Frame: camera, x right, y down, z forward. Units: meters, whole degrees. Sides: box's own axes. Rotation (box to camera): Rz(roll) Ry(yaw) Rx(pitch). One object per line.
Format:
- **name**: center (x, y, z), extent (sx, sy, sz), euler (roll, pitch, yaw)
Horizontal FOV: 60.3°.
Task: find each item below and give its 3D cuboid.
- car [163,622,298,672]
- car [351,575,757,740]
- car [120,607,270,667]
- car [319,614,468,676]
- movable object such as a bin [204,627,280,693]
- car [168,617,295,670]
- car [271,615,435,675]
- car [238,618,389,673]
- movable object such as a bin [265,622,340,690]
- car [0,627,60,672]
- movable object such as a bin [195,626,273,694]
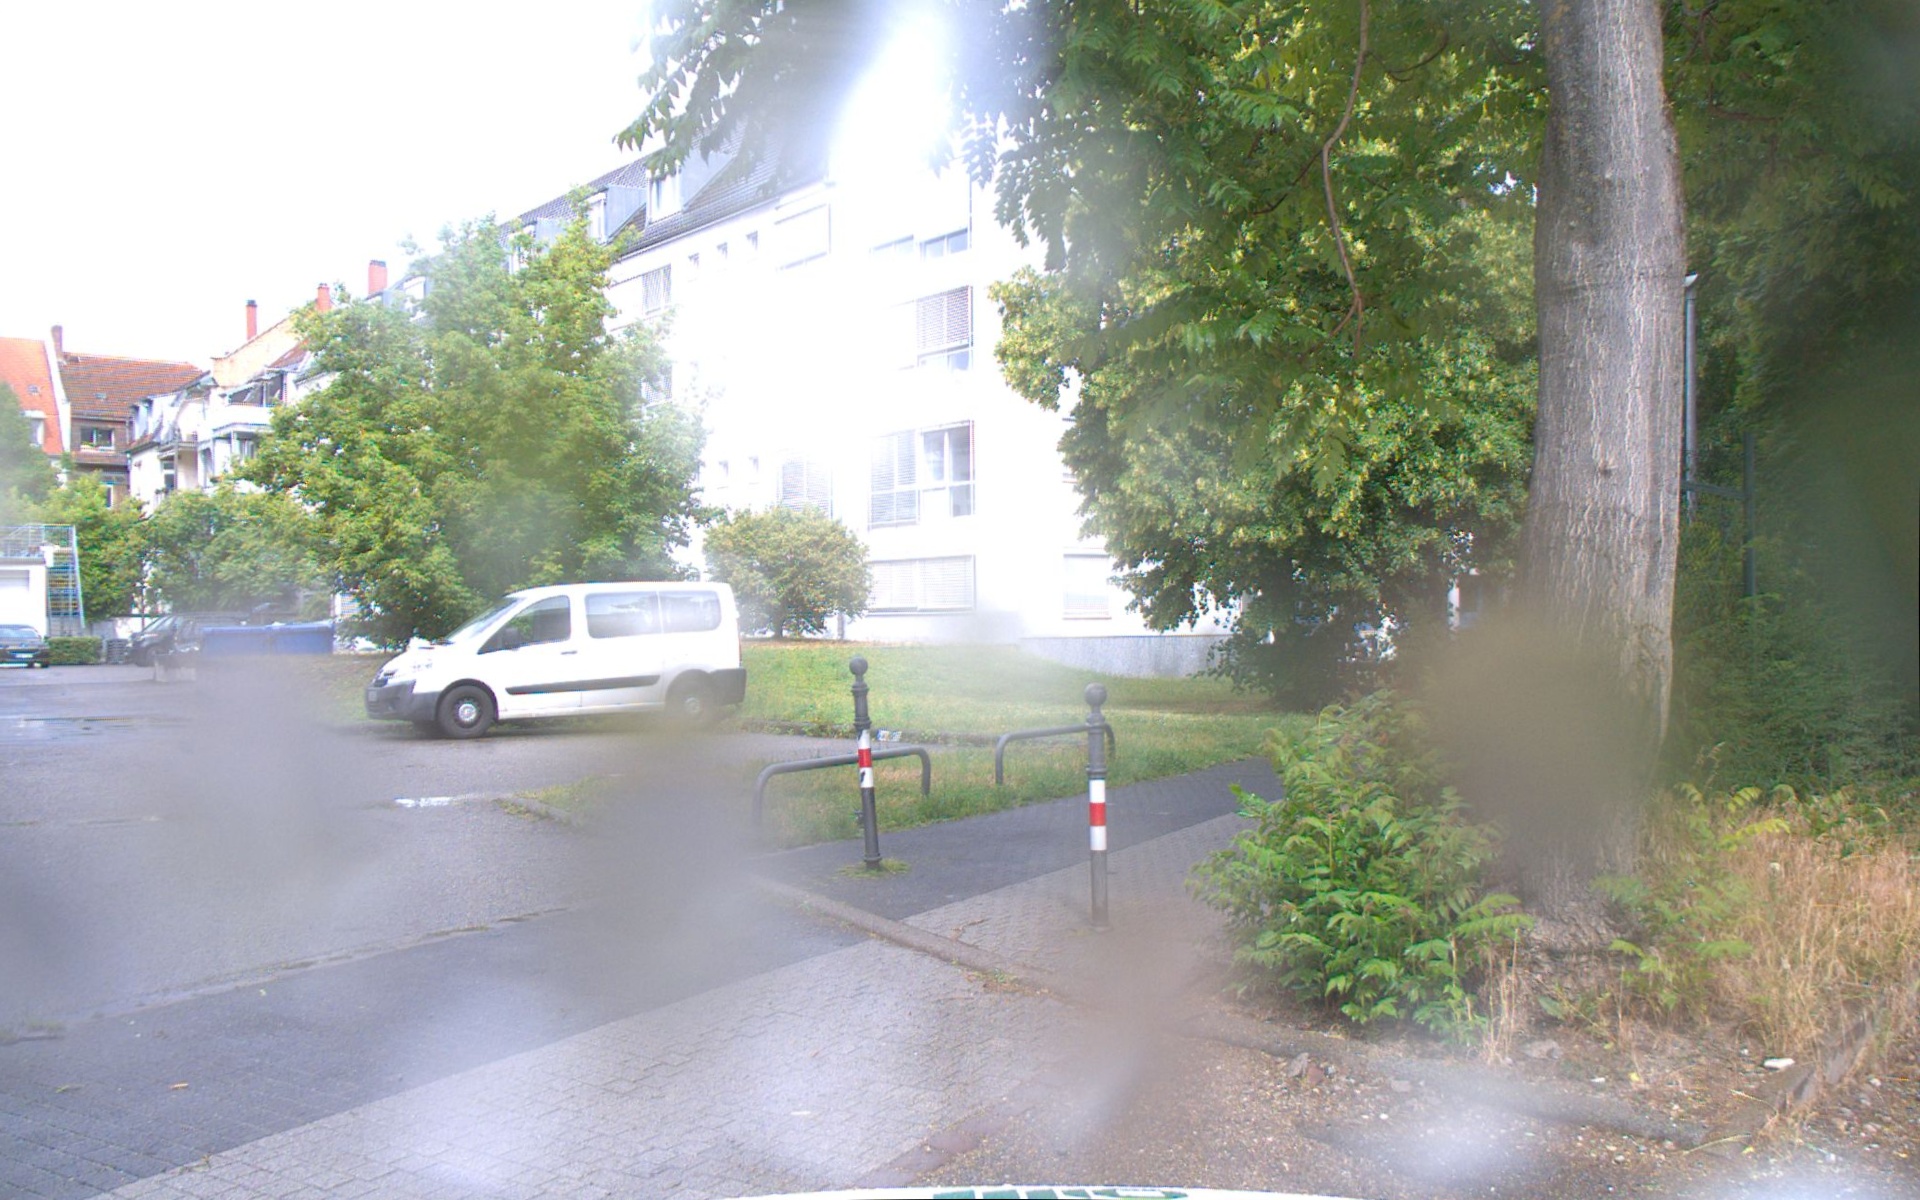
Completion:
- **car**: center (-24.775, 1.579, 56.222), extent (3.882, 1.540, 1.728), euler (-2, -1, -39)
- **car**: center (-5.300, 0.738, 21.774), extent (4.825, 1.960, 2.077), euler (1, -2, -32)
- **car**: center (-28.269, 1.343, 61.200), extent (4.614, 2.038, 2.189), euler (-2, 0, -44)
- **car**: center (-14.970, 1.173, 43.740), extent (3.389, 1.451, 1.666), euler (-2, 0, -36)
- **movable object such as a bin**: center (-15.399, 1.271, 35.460), extent (1.358, 1.327, 1.071), euler (-1, -1, -31)
- **car**: center (-26.095, 1.534, 59.252), extent (3.876, 1.717, 1.795), euler (-2, -1, -35)
- **car**: center (-16.855, 1.224, 46.005), extent (3.957, 1.471, 1.783), euler (-2, 0, -37)
- **car**: center (-19.631, 1.365, 50.290), extent (3.960, 1.484, 1.748), euler (-1, -1, -39)
- **movable object such as a bin**: center (-13.744, 1.156, 34.567), extent (1.280, 1.360, 1.184), euler (-1, -1, -31)
- **car**: center (-32.703, 1.700, 57.622), extent (1.963, 1.469, 3.951), euler (0, -1, -35)
- **movable object such as a bin**: center (-14.824, 1.213, 33.782), extent (1.324, 1.314, 1.084), euler (-1, 0, -31)
